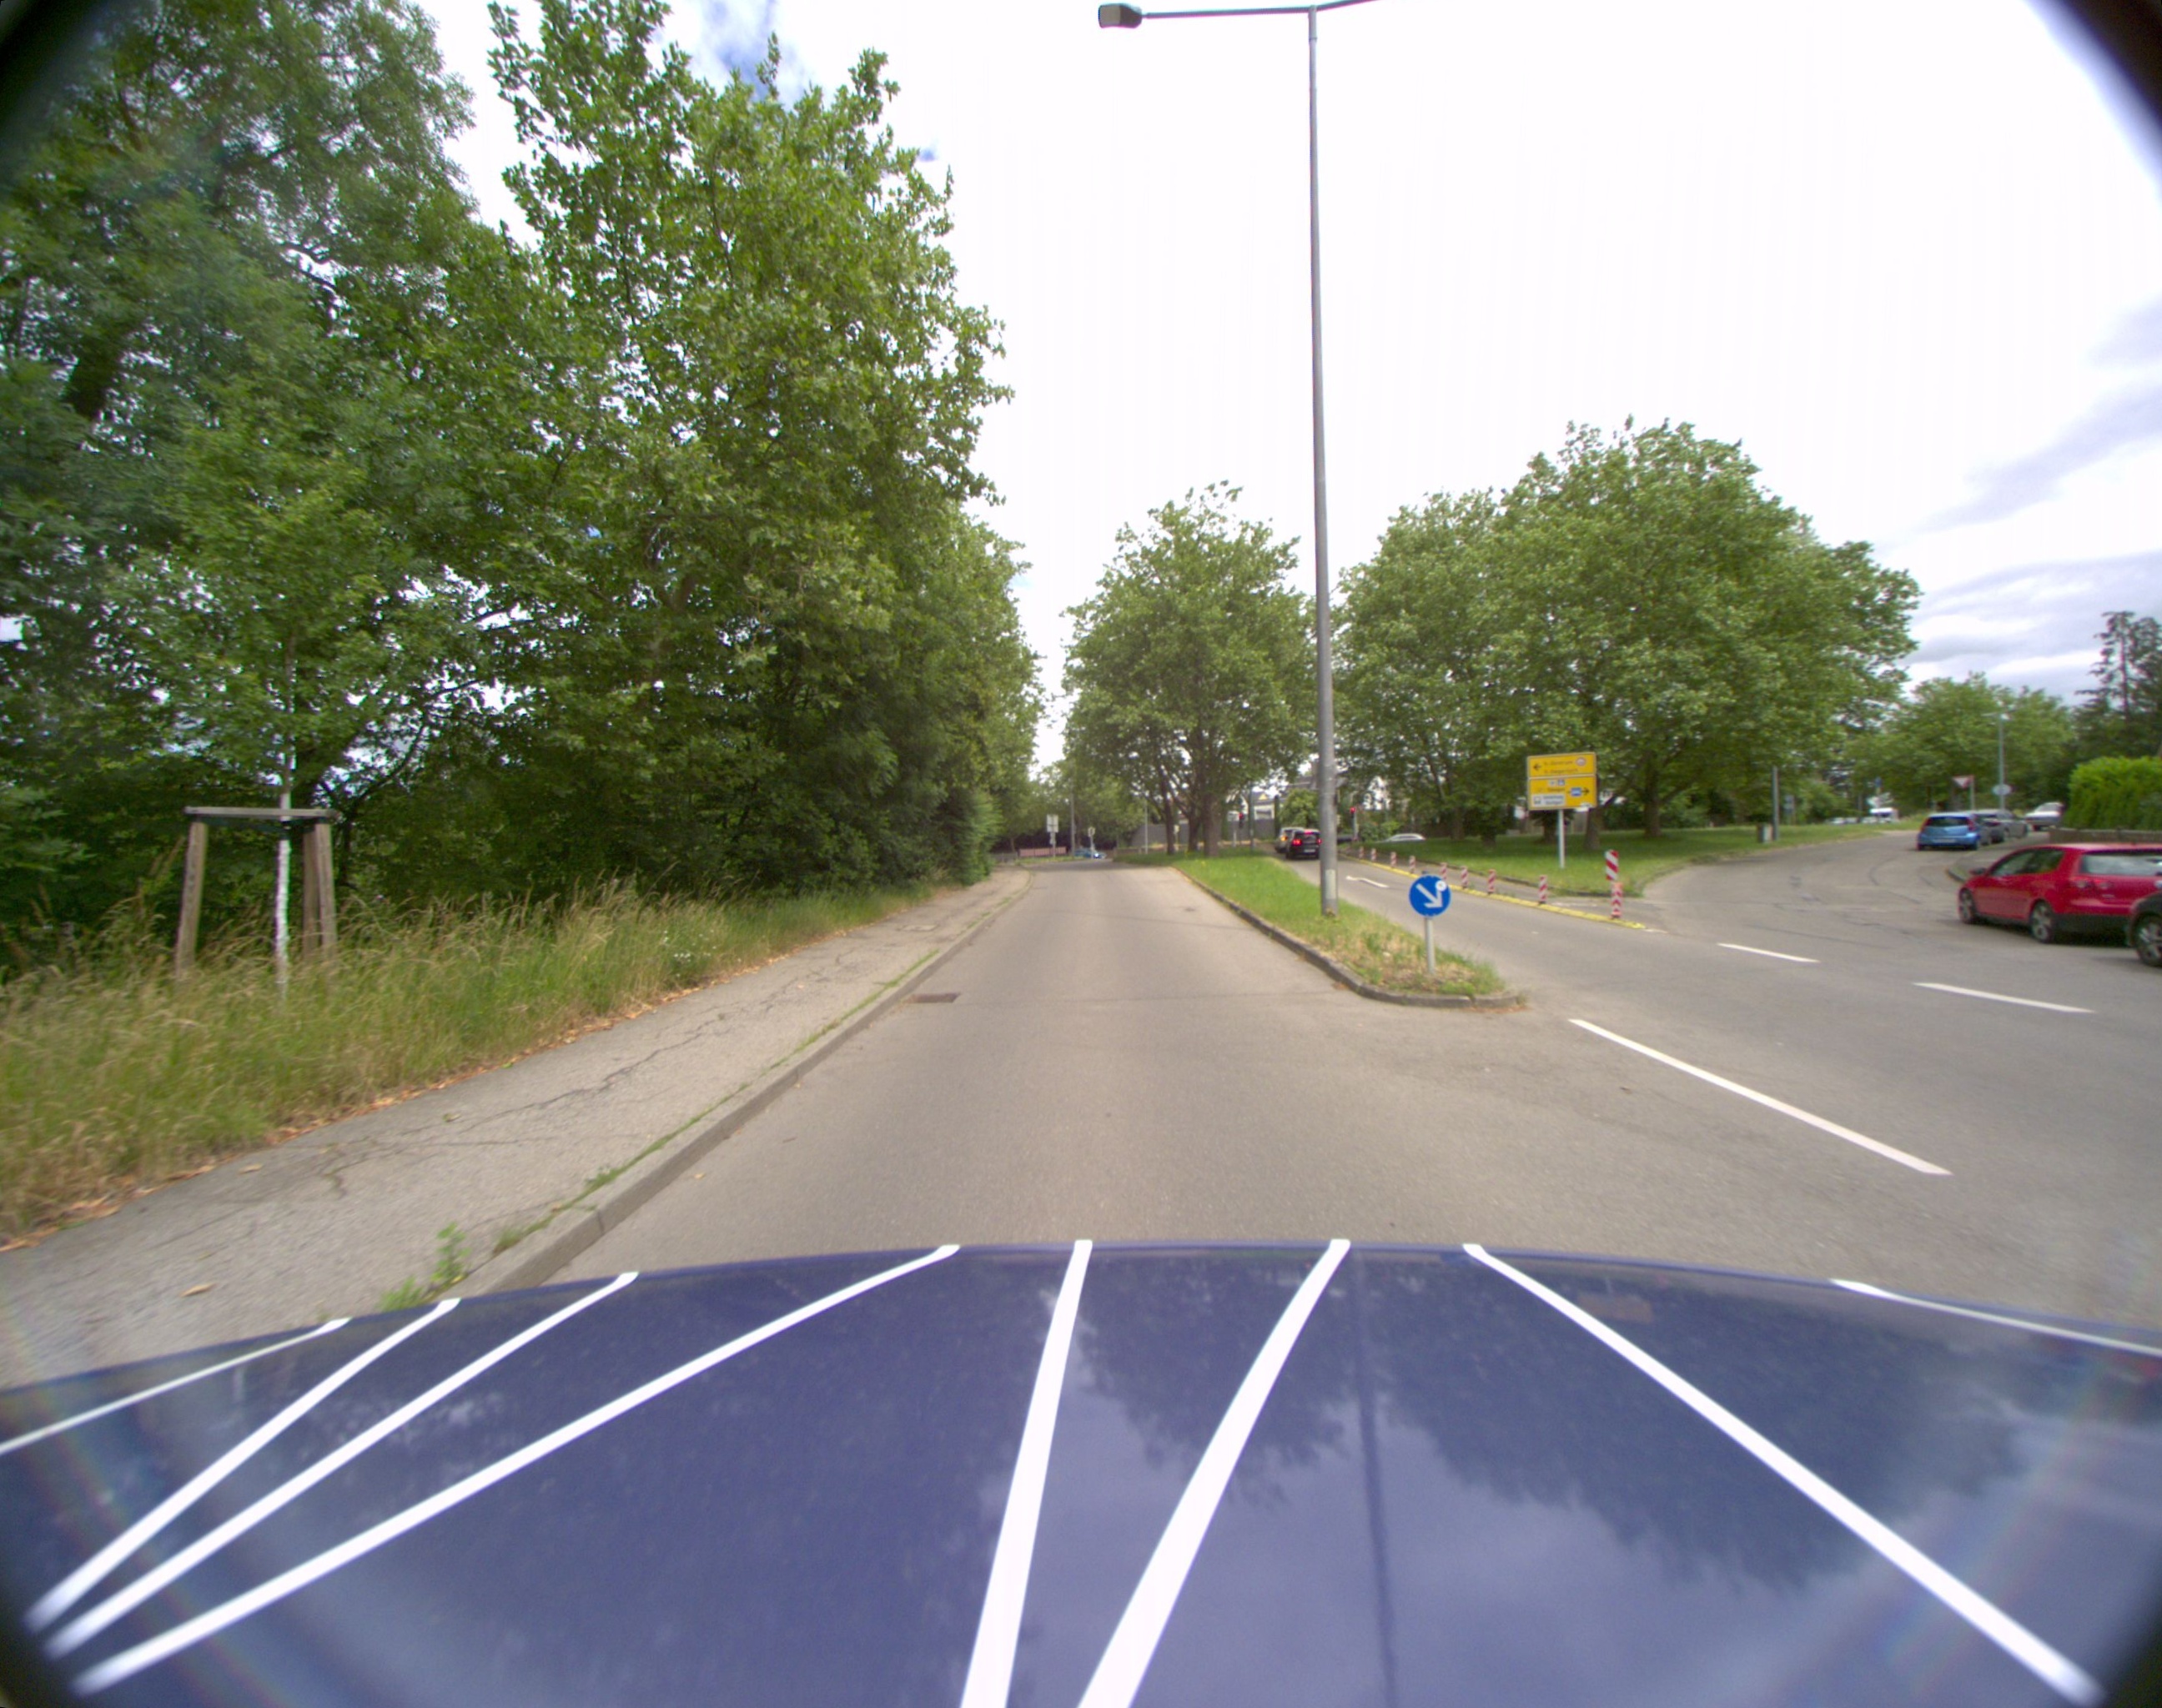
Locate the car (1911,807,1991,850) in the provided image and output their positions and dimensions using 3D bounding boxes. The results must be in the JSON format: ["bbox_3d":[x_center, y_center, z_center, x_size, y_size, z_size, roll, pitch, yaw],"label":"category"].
[{"bbox_3d":[37.424,-1.112,32.667,3.784,1.546,1.779,-4,0,-34],"label":"car"}]

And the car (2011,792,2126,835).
[{"bbox_3d":[51.489,-2.102,39.622,4.887,1.781,2.213,-4,0,-20],"label":"car"}]

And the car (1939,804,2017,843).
[{"bbox_3d":[41.526,-1.401,35.167,4.002,1.505,1.658,-4,0,-31],"label":"car"}]

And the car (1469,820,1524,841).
[{"bbox_3d":[32.107,-1.791,58.713,3.636,1.515,1.654,2,0,32],"label":"car"}]

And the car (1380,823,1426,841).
[{"bbox_3d":[29.412,-1.971,69.402,3.637,1.520,1.654,-1,-1,32],"label":"car"}]

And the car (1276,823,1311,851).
[{"bbox_3d":[14.301,-1.115,51.430,1.854,1.648,4.912,-2,-1,11],"label":"car"}]

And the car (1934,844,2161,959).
[{"bbox_3d":[15.608,0.624,12.021,1.728,1.465,4.286,-1,1,33],"label":"car"}]

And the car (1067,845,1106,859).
[{"bbox_3d":[0.579,-0.201,84.766,4.136,1.419,1.802,-3,-4,41],"label":"car"}]

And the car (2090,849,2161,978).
[{"bbox_3d":[12.848,0.722,7.536,1.728,1.465,4.322,-1,1,28],"label":"car"}]

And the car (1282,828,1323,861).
[{"bbox_3d":[12.164,-0.586,41.956,1.760,1.583,4.615,-2,3,11],"label":"car"}]
